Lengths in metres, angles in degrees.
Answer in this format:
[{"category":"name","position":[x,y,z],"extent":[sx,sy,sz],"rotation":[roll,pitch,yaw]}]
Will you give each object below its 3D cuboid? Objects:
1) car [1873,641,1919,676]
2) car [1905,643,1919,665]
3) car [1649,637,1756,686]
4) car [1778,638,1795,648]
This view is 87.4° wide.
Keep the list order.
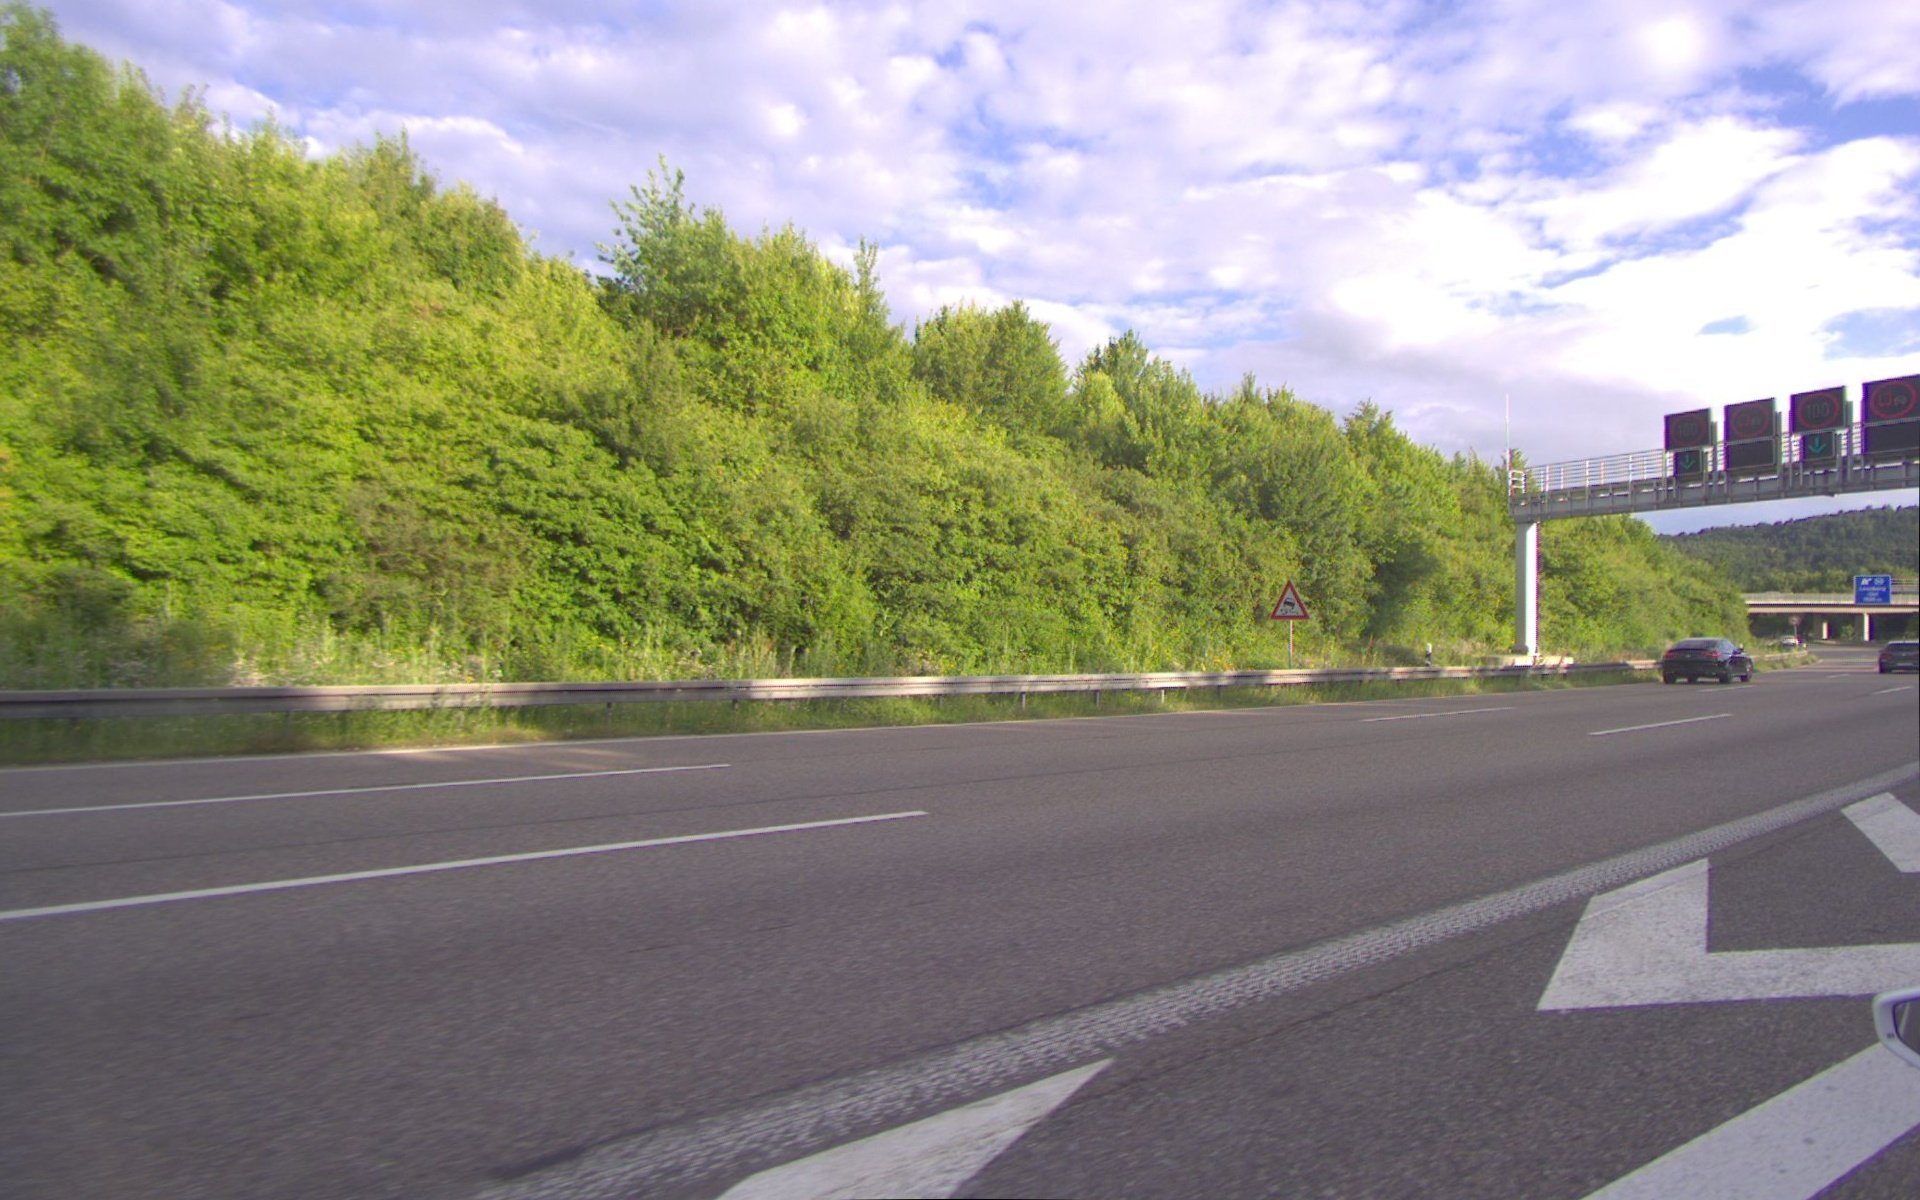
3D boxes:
[{"category":"car","position":[41.470,2.536,44.224],"extent":[1.720,1.486,3.763],"rotation":[-2,-3,45]},{"category":"car","position":[65.822,3.694,68.738],"extent":[1.587,1.485,3.507],"rotation":[-4,-5,43]},{"category":"car","position":[26.353,2.182,35.635],"extent":[3.960,1.656,1.822],"rotation":[2,-5,-35]},{"category":"car","position":[116.962,6.088,142.166],"extent":[1.715,1.486,3.625],"rotation":[-2,-3,36]}]
